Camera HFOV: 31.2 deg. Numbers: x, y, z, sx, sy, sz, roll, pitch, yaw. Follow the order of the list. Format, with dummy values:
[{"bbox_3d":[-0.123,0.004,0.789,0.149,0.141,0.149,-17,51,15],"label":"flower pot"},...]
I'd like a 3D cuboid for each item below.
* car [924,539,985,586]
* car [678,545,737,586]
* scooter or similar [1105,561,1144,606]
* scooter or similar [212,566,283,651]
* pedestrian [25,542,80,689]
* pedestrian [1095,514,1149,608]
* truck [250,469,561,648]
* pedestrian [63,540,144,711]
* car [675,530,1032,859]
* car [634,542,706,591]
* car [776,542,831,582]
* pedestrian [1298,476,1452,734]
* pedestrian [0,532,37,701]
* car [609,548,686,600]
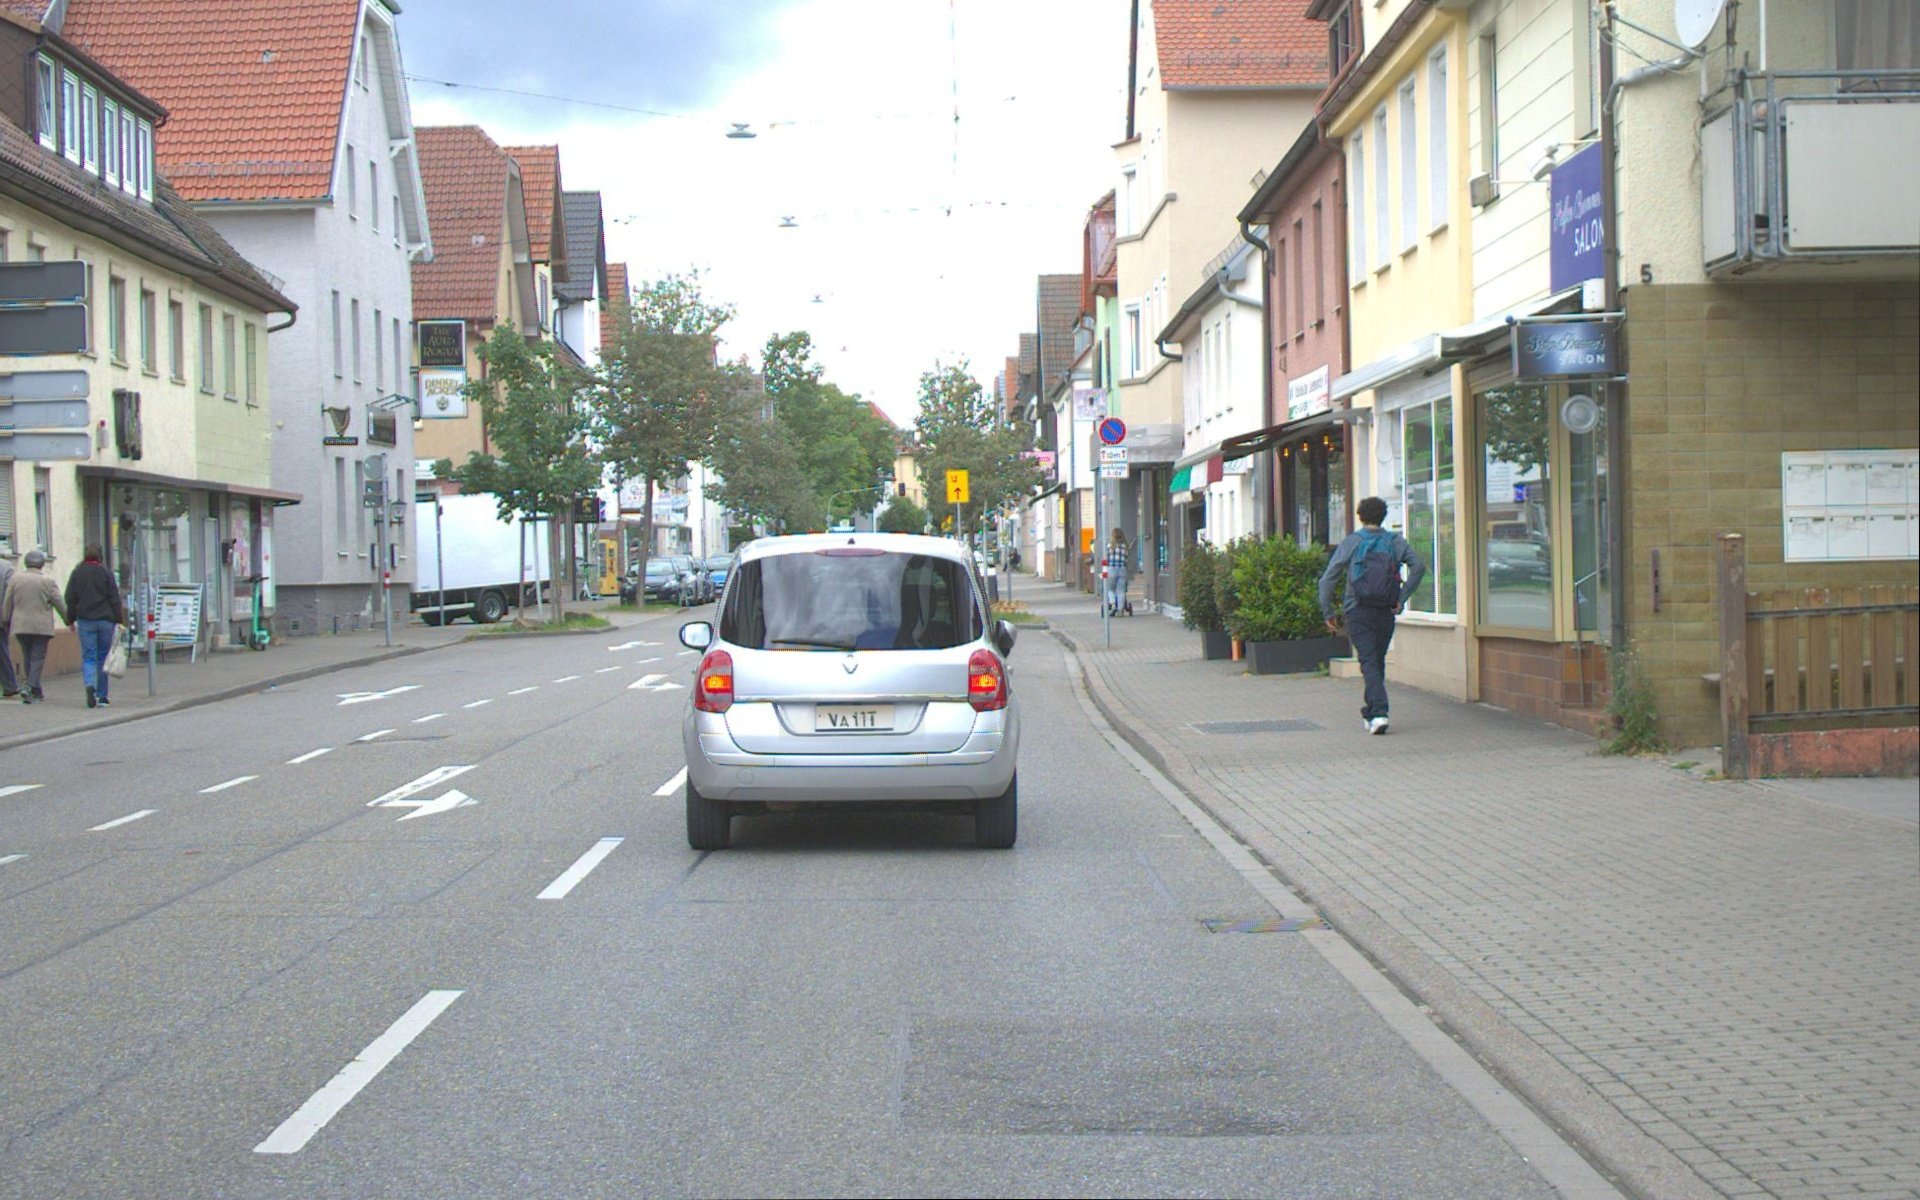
[{"bbox_3d":[-0.202,-1.179,107.278,1.812,1.349,4.000,-2,1,-1],"label":"car"},{"bbox_3d":[-9.055,-1.263,123.701,1.812,1.349,4.000,-2,1,-1],"label":"car"},{"bbox_3d":[3.262,-0.333,68.250,0.680,0.830,0.823,-4,1,-1],"label":"scooter or similar"},{"bbox_3d":[-11.272,0.126,54.438,0.575,1.265,2.548,-2,1,-1],"label":"scooter or similar"},{"bbox_3d":[-9.461,0.157,35.855,0.426,1.520,0.553,0,1,-1],"label":"pedestrian"},{"bbox_3d":[3.171,-0.767,67.420,0.889,1.780,0.785,-4,1,0],"label":"pedestrian"},{"bbox_3d":[-12.752,-1.005,79.489,2.602,3.844,6.832,-1,1,42],"label":"truck"},{"bbox_3d":[-8.846,0.258,35.533,0.662,1.751,0.688,0,1,-1],"label":"pedestrian"},{"bbox_3d":[-0.560,0.418,18.445,1.706,1.573,4.000,0,1,-1],"label":"car"},{"bbox_3d":[-8.612,-1.005,102.343,1.812,1.349,4.000,-2,1,-1],"label":"car"},{"bbox_3d":[-5.641,-1.379,124.210,1.812,1.349,3.857,-2,1,-1],"label":"car"},{"bbox_3d":[2.994,0.029,24.883,0.889,1.780,0.785,-4,1,0],"label":"pedestrian"},{"bbox_3d":[-10.062,0.162,36.053,0.579,1.751,0.688,0,1,-1],"label":"pedestrian"},{"bbox_3d":[-8.788,-0.753,96.930,1.812,1.349,4.000,-2,1,-1],"label":"car"}]
